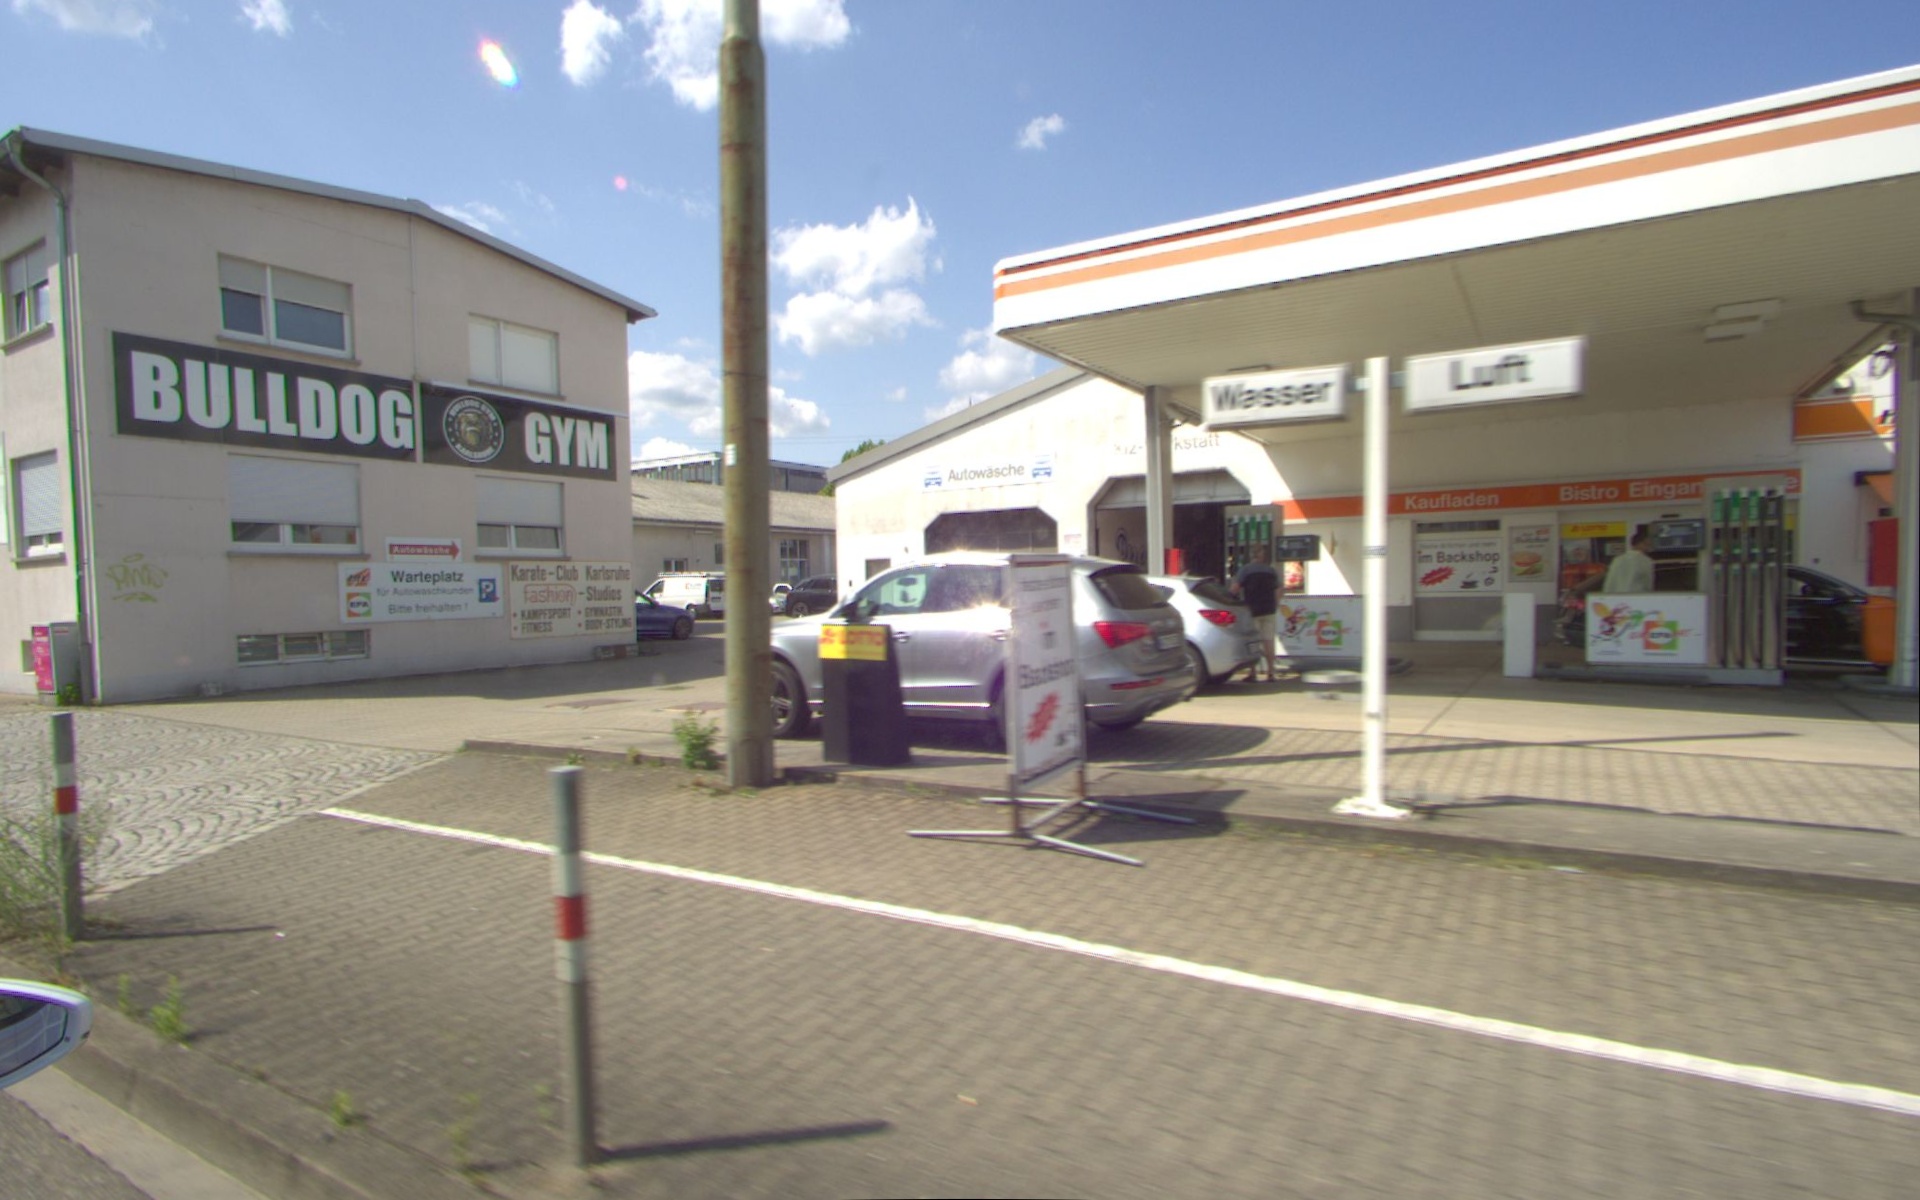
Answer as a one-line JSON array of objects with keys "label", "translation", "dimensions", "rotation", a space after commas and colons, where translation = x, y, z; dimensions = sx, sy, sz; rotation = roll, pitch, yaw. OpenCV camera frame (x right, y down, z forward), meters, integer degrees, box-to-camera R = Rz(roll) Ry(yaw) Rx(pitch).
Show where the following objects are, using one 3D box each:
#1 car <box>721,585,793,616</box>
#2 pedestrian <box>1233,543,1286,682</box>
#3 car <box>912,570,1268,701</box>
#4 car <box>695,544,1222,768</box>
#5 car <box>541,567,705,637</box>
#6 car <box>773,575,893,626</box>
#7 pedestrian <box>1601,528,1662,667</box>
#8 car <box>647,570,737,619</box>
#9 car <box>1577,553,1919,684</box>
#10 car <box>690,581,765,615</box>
[{"label": "car", "translation": [-9.892, 0.031, 48.793], "dimensions": [3.422, 1.415, 1.411], "rotation": [-1, -1, 32]}, {"label": "pedestrian", "translation": [3.983, 0.171, 13.301], "dimensions": [0.569, 1.799, 0.496], "rotation": [-1, 0, 30]}, {"label": "car", "translation": [1.665, 0.434, 13.267], "dimensions": [4.357, 1.491, 1.689], "rotation": [-1, 2, 30]}, {"label": "car", "translation": [-0.087, 0.417, 9.329], "dimensions": [4.547, 1.647, 1.942], "rotation": [-1, 1, 30]}, {"label": "car", "translation": [-9.005, 0.097, 27.093], "dimensions": [1.969, 1.738, 3.985], "rotation": [-1, -1, 27]}, {"label": "car", "translation": [-4.266, 0.024, 33.472], "dimensions": [3.885, 1.564, 1.509], "rotation": [-1, 2, 32]}, {"label": "pedestrian", "translation": [8.713, -0.024, 12.991], "dimensions": [0.611, 1.745, 0.682], "rotation": [-1, 0, 37]}, {"label": "car", "translation": [-11.940, -0.215, 44.617], "dimensions": [3.790, 2.058, 1.784], "rotation": [-1, -1, 32]}, {"label": "car", "translation": [10.739, 0.179, 13.170], "dimensions": [4.427, 1.541, 1.678], "rotation": [1, 2, 32]}, {"label": "car", "translation": [-10.889, -0.045, 46.933], "dimensions": [3.366, 1.499, 1.494], "rotation": [-1, -1, 32]}]
